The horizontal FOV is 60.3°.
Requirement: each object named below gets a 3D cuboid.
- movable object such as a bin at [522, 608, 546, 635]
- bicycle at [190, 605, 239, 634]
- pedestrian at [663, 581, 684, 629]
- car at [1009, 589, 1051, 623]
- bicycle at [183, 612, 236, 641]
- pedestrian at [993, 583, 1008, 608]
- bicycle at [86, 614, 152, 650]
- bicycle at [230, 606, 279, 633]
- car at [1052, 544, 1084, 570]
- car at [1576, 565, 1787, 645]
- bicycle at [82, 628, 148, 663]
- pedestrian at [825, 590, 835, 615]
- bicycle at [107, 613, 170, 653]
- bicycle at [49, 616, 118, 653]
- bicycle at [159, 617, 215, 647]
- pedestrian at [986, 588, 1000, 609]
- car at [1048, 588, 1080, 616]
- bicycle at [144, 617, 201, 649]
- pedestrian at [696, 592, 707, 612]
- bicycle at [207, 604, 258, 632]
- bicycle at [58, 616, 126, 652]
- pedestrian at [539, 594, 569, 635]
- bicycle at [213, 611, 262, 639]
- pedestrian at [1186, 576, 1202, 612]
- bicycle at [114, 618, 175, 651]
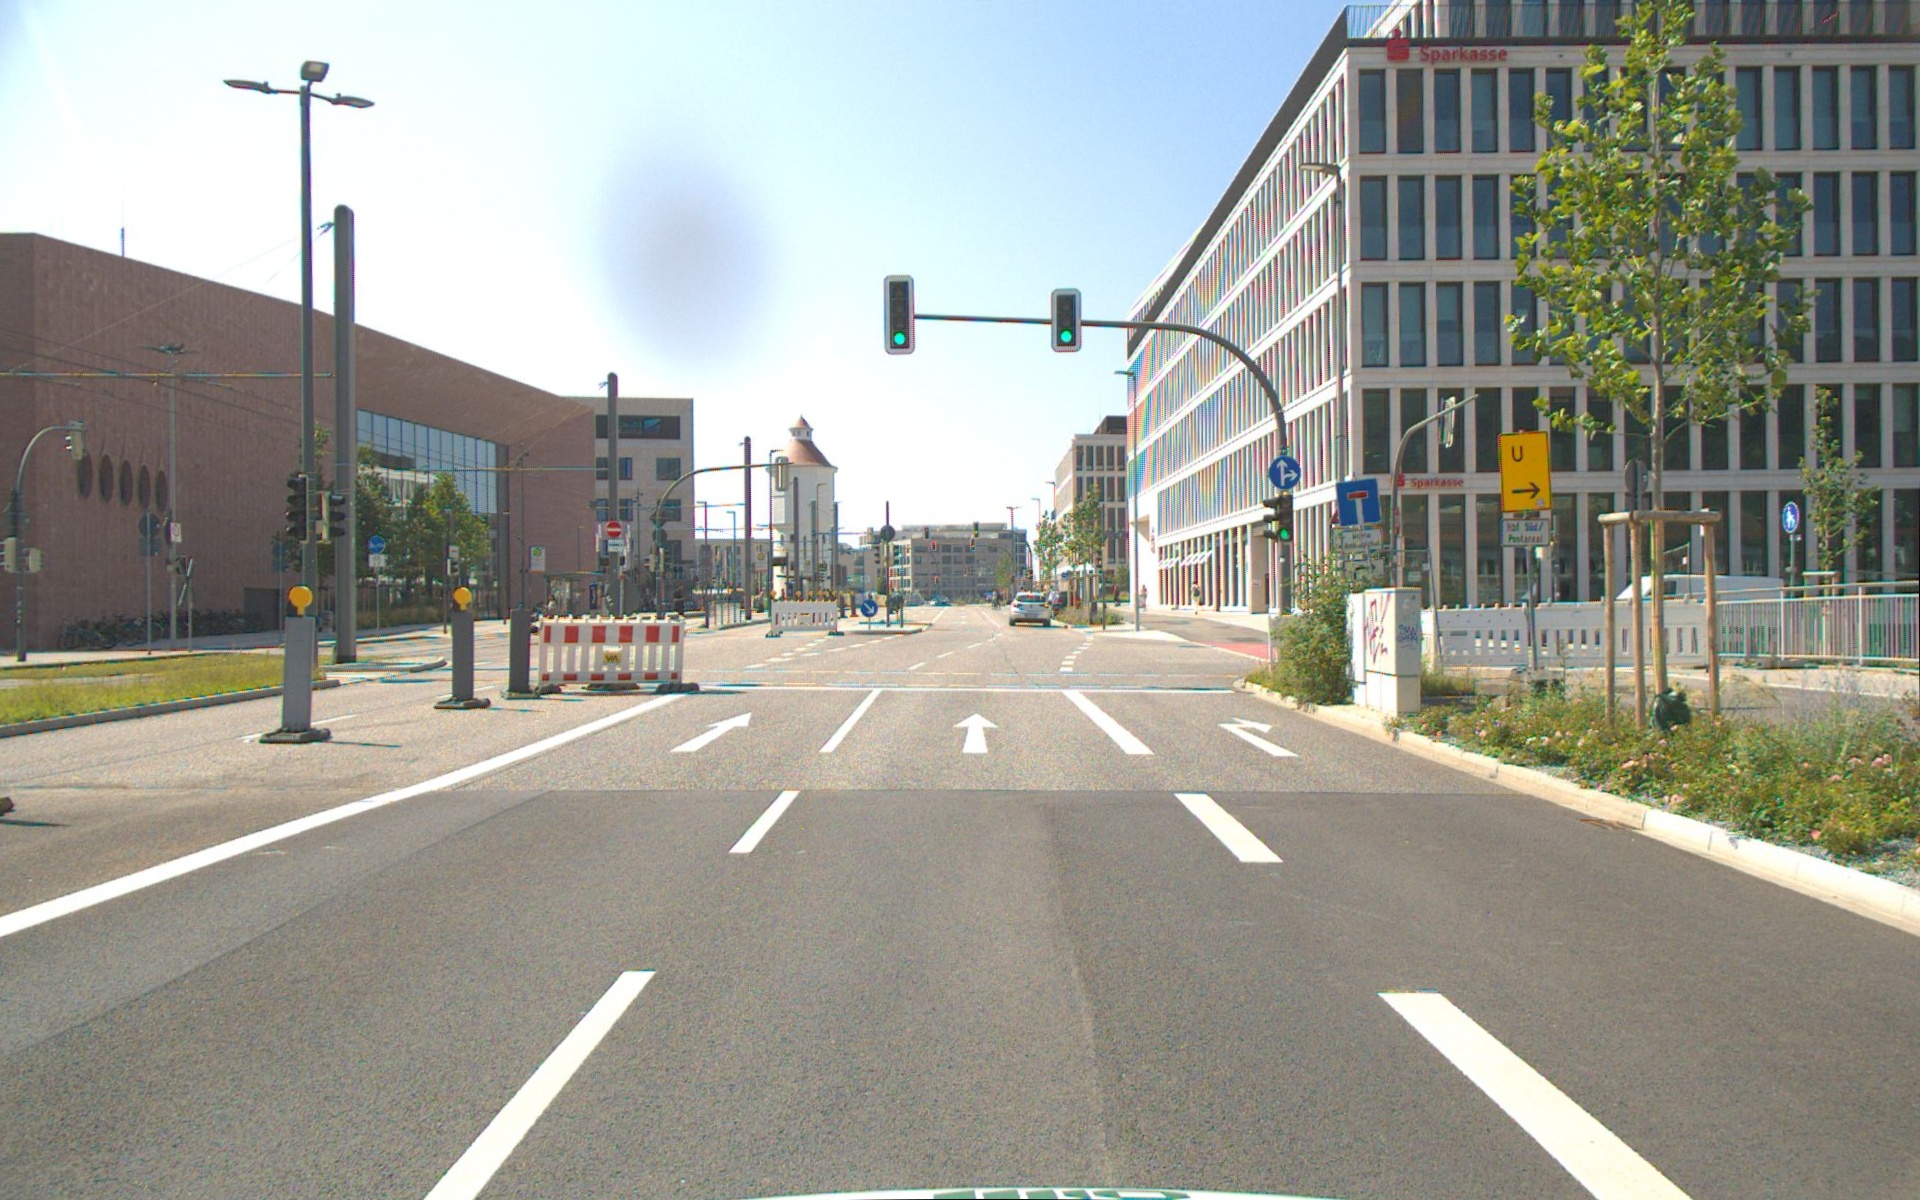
[{"bbox_3d":[-16.643,0.836,64.594,0.707,1.050,0.784,0,0,-36],"label":"movable object such as a bin"},{"bbox_3d":[-32.795,0.850,72.771,1.847,1.233,0.746,0,0,-7],"label":"bicycle"},{"bbox_3d":[-11.090,0.193,64.010,0.639,1.865,0.661,0,0,4],"label":"pedestrian"},{"bbox_3d":[3.030,0.276,71.921,1.735,1.419,3.532,1,-1,2],"label":"car"},{"bbox_3d":[-32.504,1.150,71.638,2.014,1.233,0.538,0,0,-11],"label":"bicycle"},{"bbox_3d":[3.417,-0.394,139.705,1.004,2.049,0.949,-1,0,-18],"label":"pedestrian"},{"bbox_3d":[-29.969,1.132,58.933,2.015,1.233,0.538,0,0,-13],"label":"bicycle"},{"bbox_3d":[-33.007,0.923,77.364,2.014,1.233,0.538,0,0,-11],"label":"bicycle"},{"bbox_3d":[6.226,-2.479,95.581,1.572,1.412,3.815,1,0,0],"label":"car"},{"bbox_3d":[22.722,0.141,52.252,5.717,2.310,2.146,2,0,0],"label":"car"},{"bbox_3d":[-30.268,1.629,59.269,2.014,1.233,0.538,0,0,-11],"label":"bicycle"},{"bbox_3d":[-10.429,0.201,132.533,0.750,1.923,0.692,-1,0,1],"label":"pedestrian"},{"bbox_3d":[-30.487,1.216,61.404,2.014,1.478,0.538,0,0,-11],"label":"bicycle"},{"bbox_3d":[-30.057,1.173,56.731,2.014,1.233,0.538,1,0,-11],"label":"bicycle"},{"bbox_3d":[-32.245,1.326,69.007,2.014,1.233,0.538,0,0,-11],"label":"bicycle"},{"bbox_3d":[2.748,-0.149,138.756,0.880,1.703,1.008,-1,0,-18],"label":"pedestrian"},{"bbox_3d":[5.697,0.136,90.372,1.700,1.500,3.982,0,0,4],"label":"car"},{"bbox_3d":[-31.820,1.334,66.830,2.014,1.233,0.538,0,0,-11],"label":"bicycle"},{"bbox_3d":[-20.795,0.176,133.073,0.696,1.599,0.890,-1,0,-1],"label":"pedestrian"},{"bbox_3d":[-33.133,0.814,75.331,2.014,1.233,0.538,0,0,-11],"label":"bicycle"},{"bbox_3d":[-30.181,1.172,57.528,2.014,1.233,0.538,0,0,-11],"label":"bicycle"},{"bbox_3d":[-15.983,0.564,65.083,0.922,1.590,0.784,0,0,-36],"label":"pedestrian"},{"bbox_3d":[-33.370,1.152,76.392,2.014,1.233,0.538,0,0,-11],"label":"bicycle"},{"bbox_3d":[11.638,-0.277,82.266,0.615,1.773,0.814,-1,0,0],"label":"pedestrian"},{"bbox_3d":[-31.326,1.312,63.567,2.014,1.233,0.538,0,0,-11],"label":"bicycle"}]
